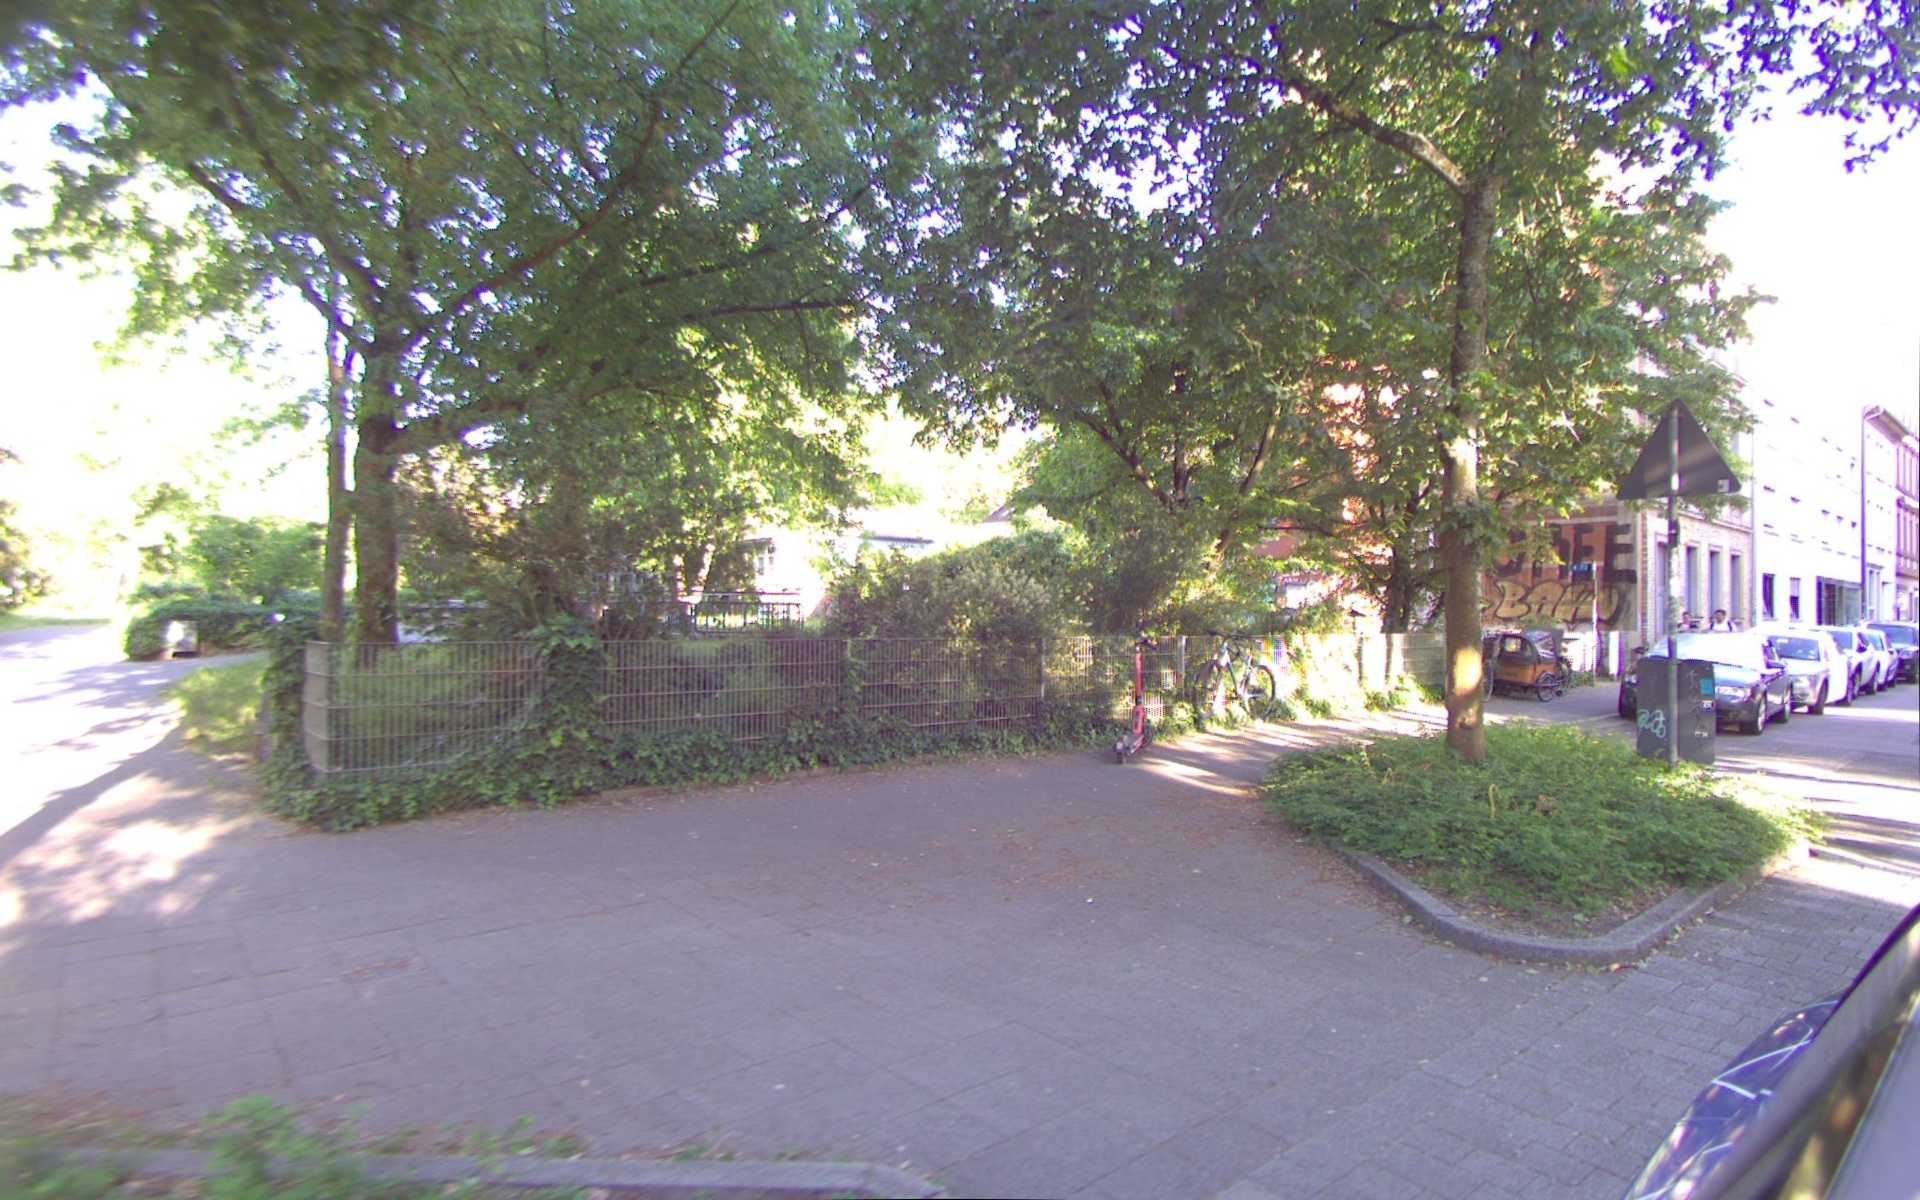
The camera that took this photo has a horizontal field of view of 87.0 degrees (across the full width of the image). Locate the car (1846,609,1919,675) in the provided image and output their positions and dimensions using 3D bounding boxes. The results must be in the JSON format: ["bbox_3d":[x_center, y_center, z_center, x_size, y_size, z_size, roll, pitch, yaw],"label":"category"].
[{"bbox_3d":[26.396,1.143,28.269,4.249,1.688,1.770,1,0,-39],"label":"car"}]

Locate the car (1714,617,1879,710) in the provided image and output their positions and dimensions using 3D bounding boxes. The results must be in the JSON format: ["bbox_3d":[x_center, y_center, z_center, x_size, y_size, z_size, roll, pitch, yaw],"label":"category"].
[{"bbox_3d":[15.879,1.107,19.130,4.276,1.512,1.662,1,1,-40],"label":"car"}]

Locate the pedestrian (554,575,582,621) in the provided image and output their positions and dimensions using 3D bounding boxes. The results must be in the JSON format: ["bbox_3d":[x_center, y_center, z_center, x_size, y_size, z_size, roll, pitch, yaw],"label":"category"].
[{"bbox_3d":[-17.575,-0.081,45.360,0.896,2.039,0.748,1,0,7],"label":"pedestrian"}]

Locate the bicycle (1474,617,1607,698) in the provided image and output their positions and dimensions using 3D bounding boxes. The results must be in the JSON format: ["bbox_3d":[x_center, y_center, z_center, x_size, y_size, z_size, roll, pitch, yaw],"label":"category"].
[{"bbox_3d":[10.558,0.996,18.377,2.284,1.318,1.294,1,1,-38],"label":"bicycle"}]

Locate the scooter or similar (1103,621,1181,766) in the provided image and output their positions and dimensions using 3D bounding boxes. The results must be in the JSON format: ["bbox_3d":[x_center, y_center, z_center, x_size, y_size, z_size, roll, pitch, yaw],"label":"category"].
[{"bbox_3d":[1.841,0.877,10.097,0.539,1.277,1.464,2,1,18],"label":"scooter or similar"}]

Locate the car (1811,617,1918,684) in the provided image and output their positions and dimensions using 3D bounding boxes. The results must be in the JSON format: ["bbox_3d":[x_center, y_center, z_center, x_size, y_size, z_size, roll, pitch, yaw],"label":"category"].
[{"bbox_3d":[22.620,1.188,25.264,3.935,1.469,1.595,1,1,-43],"label":"car"}]

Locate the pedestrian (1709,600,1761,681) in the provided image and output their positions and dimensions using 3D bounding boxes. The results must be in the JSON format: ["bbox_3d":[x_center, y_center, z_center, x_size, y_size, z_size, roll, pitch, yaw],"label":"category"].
[{"bbox_3d":[17.393,0.889,22.704,0.739,1.730,0.712,1,2,-41],"label":"pedestrian"}]

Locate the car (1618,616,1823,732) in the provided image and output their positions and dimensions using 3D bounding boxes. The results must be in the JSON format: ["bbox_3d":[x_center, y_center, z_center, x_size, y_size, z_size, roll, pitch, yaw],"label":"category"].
[{"bbox_3d":[11.979,1.038,15.833,4.337,1.512,1.724,1,1,-42],"label":"car"}]

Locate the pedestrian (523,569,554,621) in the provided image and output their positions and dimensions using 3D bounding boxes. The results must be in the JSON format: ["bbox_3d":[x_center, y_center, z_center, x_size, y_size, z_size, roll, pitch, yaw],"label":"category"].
[{"bbox_3d":[-16.890,-0.213,40.566,0.896,2.039,0.748,1,0,7],"label":"pedestrian"}]

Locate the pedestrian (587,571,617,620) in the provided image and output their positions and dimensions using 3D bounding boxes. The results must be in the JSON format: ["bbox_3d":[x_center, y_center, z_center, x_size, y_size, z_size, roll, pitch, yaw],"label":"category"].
[{"bbox_3d":[-14.943,-0.185,42.247,0.896,2.039,0.748,1,0,7],"label":"pedestrian"}]

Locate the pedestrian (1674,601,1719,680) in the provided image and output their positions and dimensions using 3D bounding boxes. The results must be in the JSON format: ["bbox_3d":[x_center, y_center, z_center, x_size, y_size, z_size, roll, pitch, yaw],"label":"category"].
[{"bbox_3d":[16.746,0.914,23.018,0.694,1.730,0.598,1,2,-41],"label":"pedestrian"}]

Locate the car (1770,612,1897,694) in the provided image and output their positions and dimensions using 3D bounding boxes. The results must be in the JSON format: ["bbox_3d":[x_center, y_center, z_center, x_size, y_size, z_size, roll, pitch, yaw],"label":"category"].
[{"bbox_3d":[19.481,1.117,22.532,3.697,1.605,1.596,1,1,-41],"label":"car"}]

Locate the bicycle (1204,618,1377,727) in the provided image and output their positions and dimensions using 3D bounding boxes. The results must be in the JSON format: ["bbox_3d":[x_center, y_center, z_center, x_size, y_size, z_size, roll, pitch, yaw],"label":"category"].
[{"bbox_3d":[4.385,0.895,13.298,2.643,1.284,0.849,2,-1,-39],"label":"bicycle"}]

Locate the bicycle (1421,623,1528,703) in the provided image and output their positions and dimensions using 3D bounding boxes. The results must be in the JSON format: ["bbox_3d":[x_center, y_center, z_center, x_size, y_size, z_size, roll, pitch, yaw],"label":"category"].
[{"bbox_3d":[8.530,1.011,16.754,1.945,1.216,0.849,2,-1,-39],"label":"bicycle"}]

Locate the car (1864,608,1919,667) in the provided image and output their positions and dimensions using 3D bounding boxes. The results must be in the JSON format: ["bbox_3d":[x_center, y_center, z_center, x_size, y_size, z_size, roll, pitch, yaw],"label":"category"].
[{"bbox_3d":[30.055,1.146,31.803,4.252,1.687,1.885,1,2,-41],"label":"car"}]
